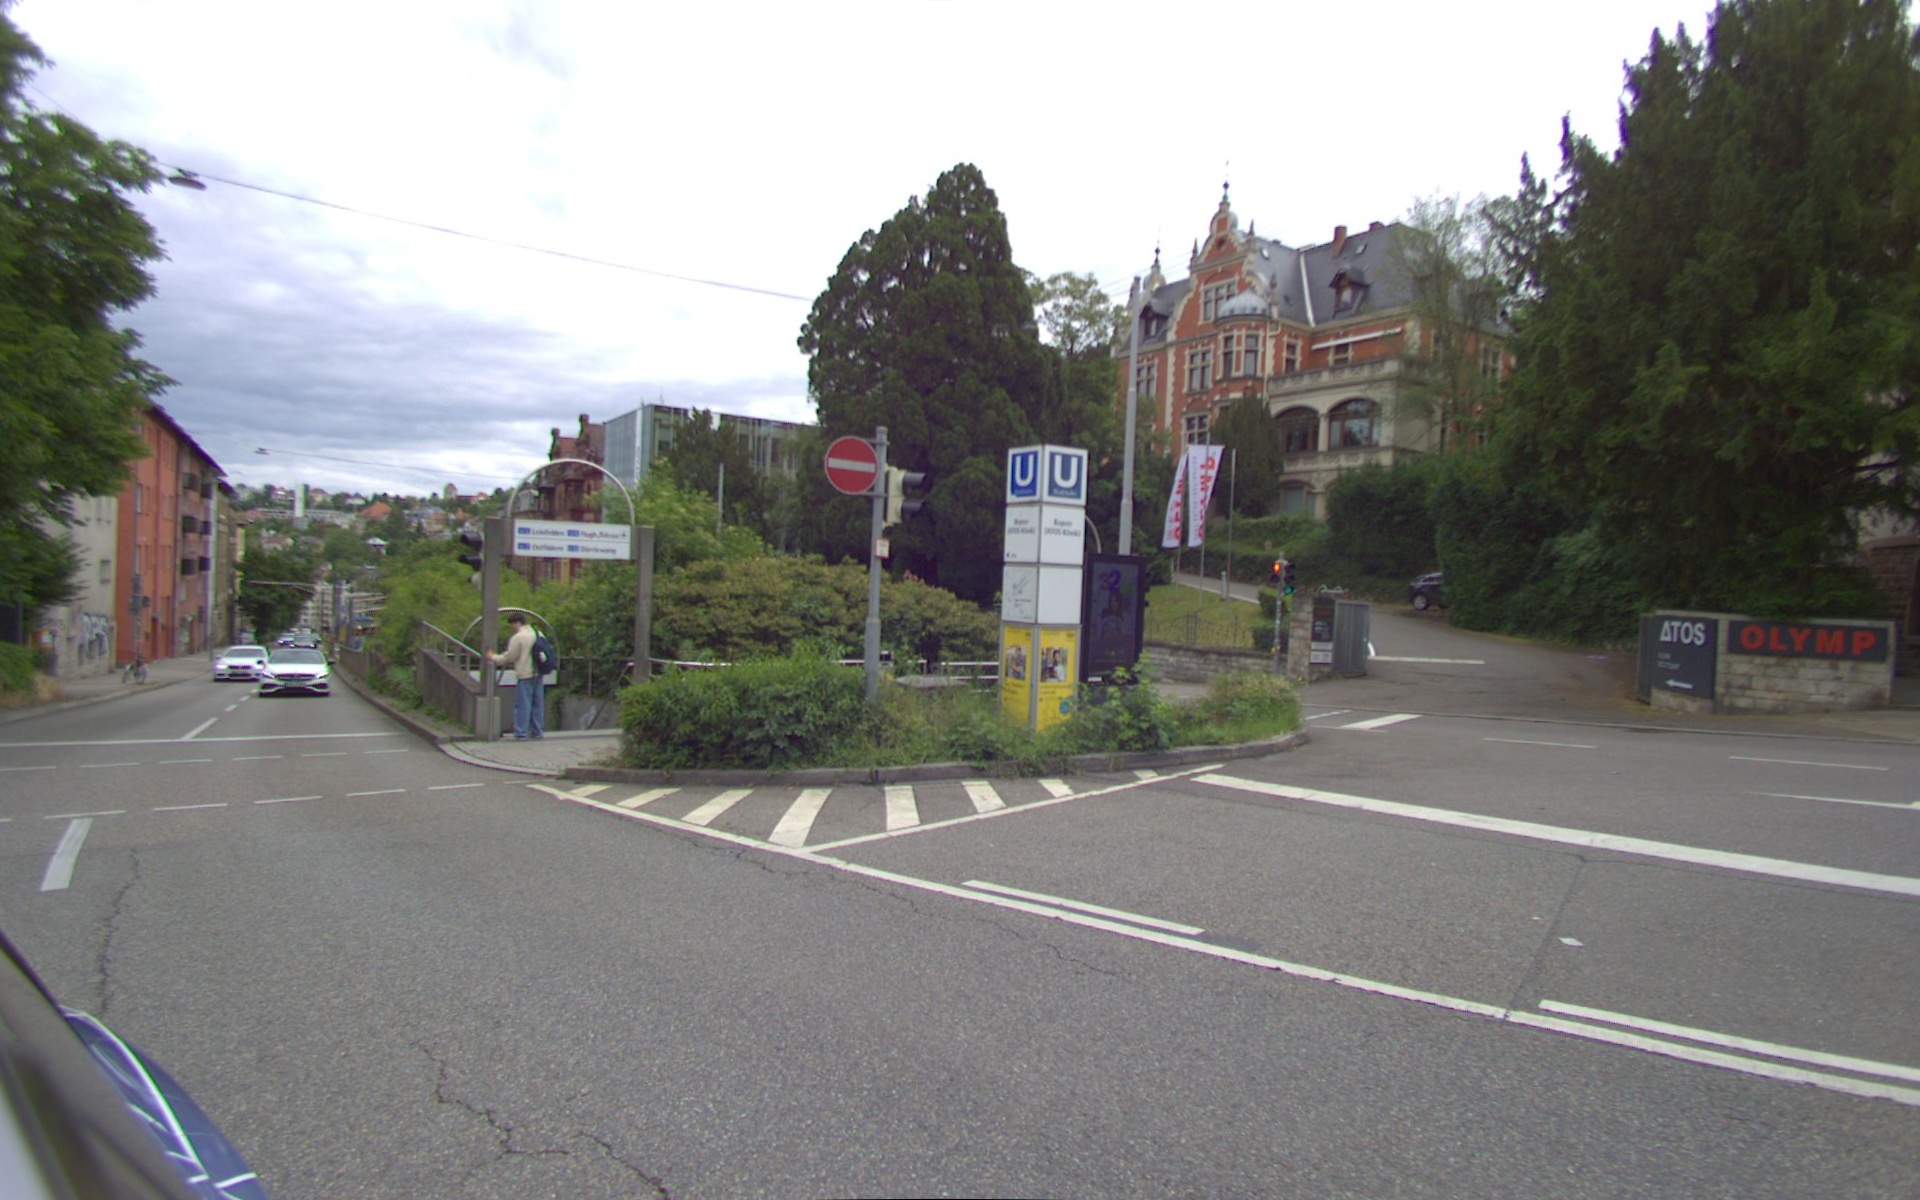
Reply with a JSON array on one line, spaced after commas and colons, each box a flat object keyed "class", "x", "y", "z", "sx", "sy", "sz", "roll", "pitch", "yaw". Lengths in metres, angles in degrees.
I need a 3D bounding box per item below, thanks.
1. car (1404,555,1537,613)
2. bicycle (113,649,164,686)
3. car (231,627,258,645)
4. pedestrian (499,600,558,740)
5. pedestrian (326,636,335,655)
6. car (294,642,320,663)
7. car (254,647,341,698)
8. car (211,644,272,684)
[{"class": "car", "x": 19.174, "y": -0.561, "z": 38.119, "sx": 1.969, "sy": 2.029, "sz": 4.006, "roll": 0, "pitch": -1, "yaw": -41}, {"class": "bicycle", "x": -27.532, "y": 2.247, "z": 33.907, "sx": 2.059, "sy": 1.152, "sz": 0.633, "roll": 0, "pitch": -4, "yaw": 33}, {"class": "car", "x": -72.688, "y": 3.623, "z": 102.855, "sx": 1.832, "sy": 1.724, "sz": 4.320, "roll": 4, "pitch": -4, "yaw": -32}, {"class": "pedestrian", "x": -5.985, "y": 0.952, "z": 14.027, "sx": 0.695, "sy": 1.875, "sz": 0.616, "roll": 1, "pitch": -3, "yaw": -27}, {"class": "pedestrian", "x": -57.733, "y": 4.155, "z": 92.801, "sx": 0.669, "sy": 1.693, "sz": 0.687, "roll": 2, "pitch": -3, "yaw": -36}, {"class": "car", "x": -57.844, "y": 4.625, "z": 89.723, "sx": 1.851, "sy": 1.751, "sz": 4.011, "roll": 2, "pitch": -3, "yaw": -32}, {"class": "car", "x": -20.205, "y": 2.188, "z": 30.812, "sx": 1.967, "sy": 1.409, "sz": 4.240, "roll": 4, "pitch": -4, "yaw": -36}, {"class": "car", "x": -30.081, "y": 2.635, "z": 42.460, "sx": 1.967, "sy": 1.499, "sz": 4.241, "roll": -1, "pitch": -1, "yaw": -34}]
